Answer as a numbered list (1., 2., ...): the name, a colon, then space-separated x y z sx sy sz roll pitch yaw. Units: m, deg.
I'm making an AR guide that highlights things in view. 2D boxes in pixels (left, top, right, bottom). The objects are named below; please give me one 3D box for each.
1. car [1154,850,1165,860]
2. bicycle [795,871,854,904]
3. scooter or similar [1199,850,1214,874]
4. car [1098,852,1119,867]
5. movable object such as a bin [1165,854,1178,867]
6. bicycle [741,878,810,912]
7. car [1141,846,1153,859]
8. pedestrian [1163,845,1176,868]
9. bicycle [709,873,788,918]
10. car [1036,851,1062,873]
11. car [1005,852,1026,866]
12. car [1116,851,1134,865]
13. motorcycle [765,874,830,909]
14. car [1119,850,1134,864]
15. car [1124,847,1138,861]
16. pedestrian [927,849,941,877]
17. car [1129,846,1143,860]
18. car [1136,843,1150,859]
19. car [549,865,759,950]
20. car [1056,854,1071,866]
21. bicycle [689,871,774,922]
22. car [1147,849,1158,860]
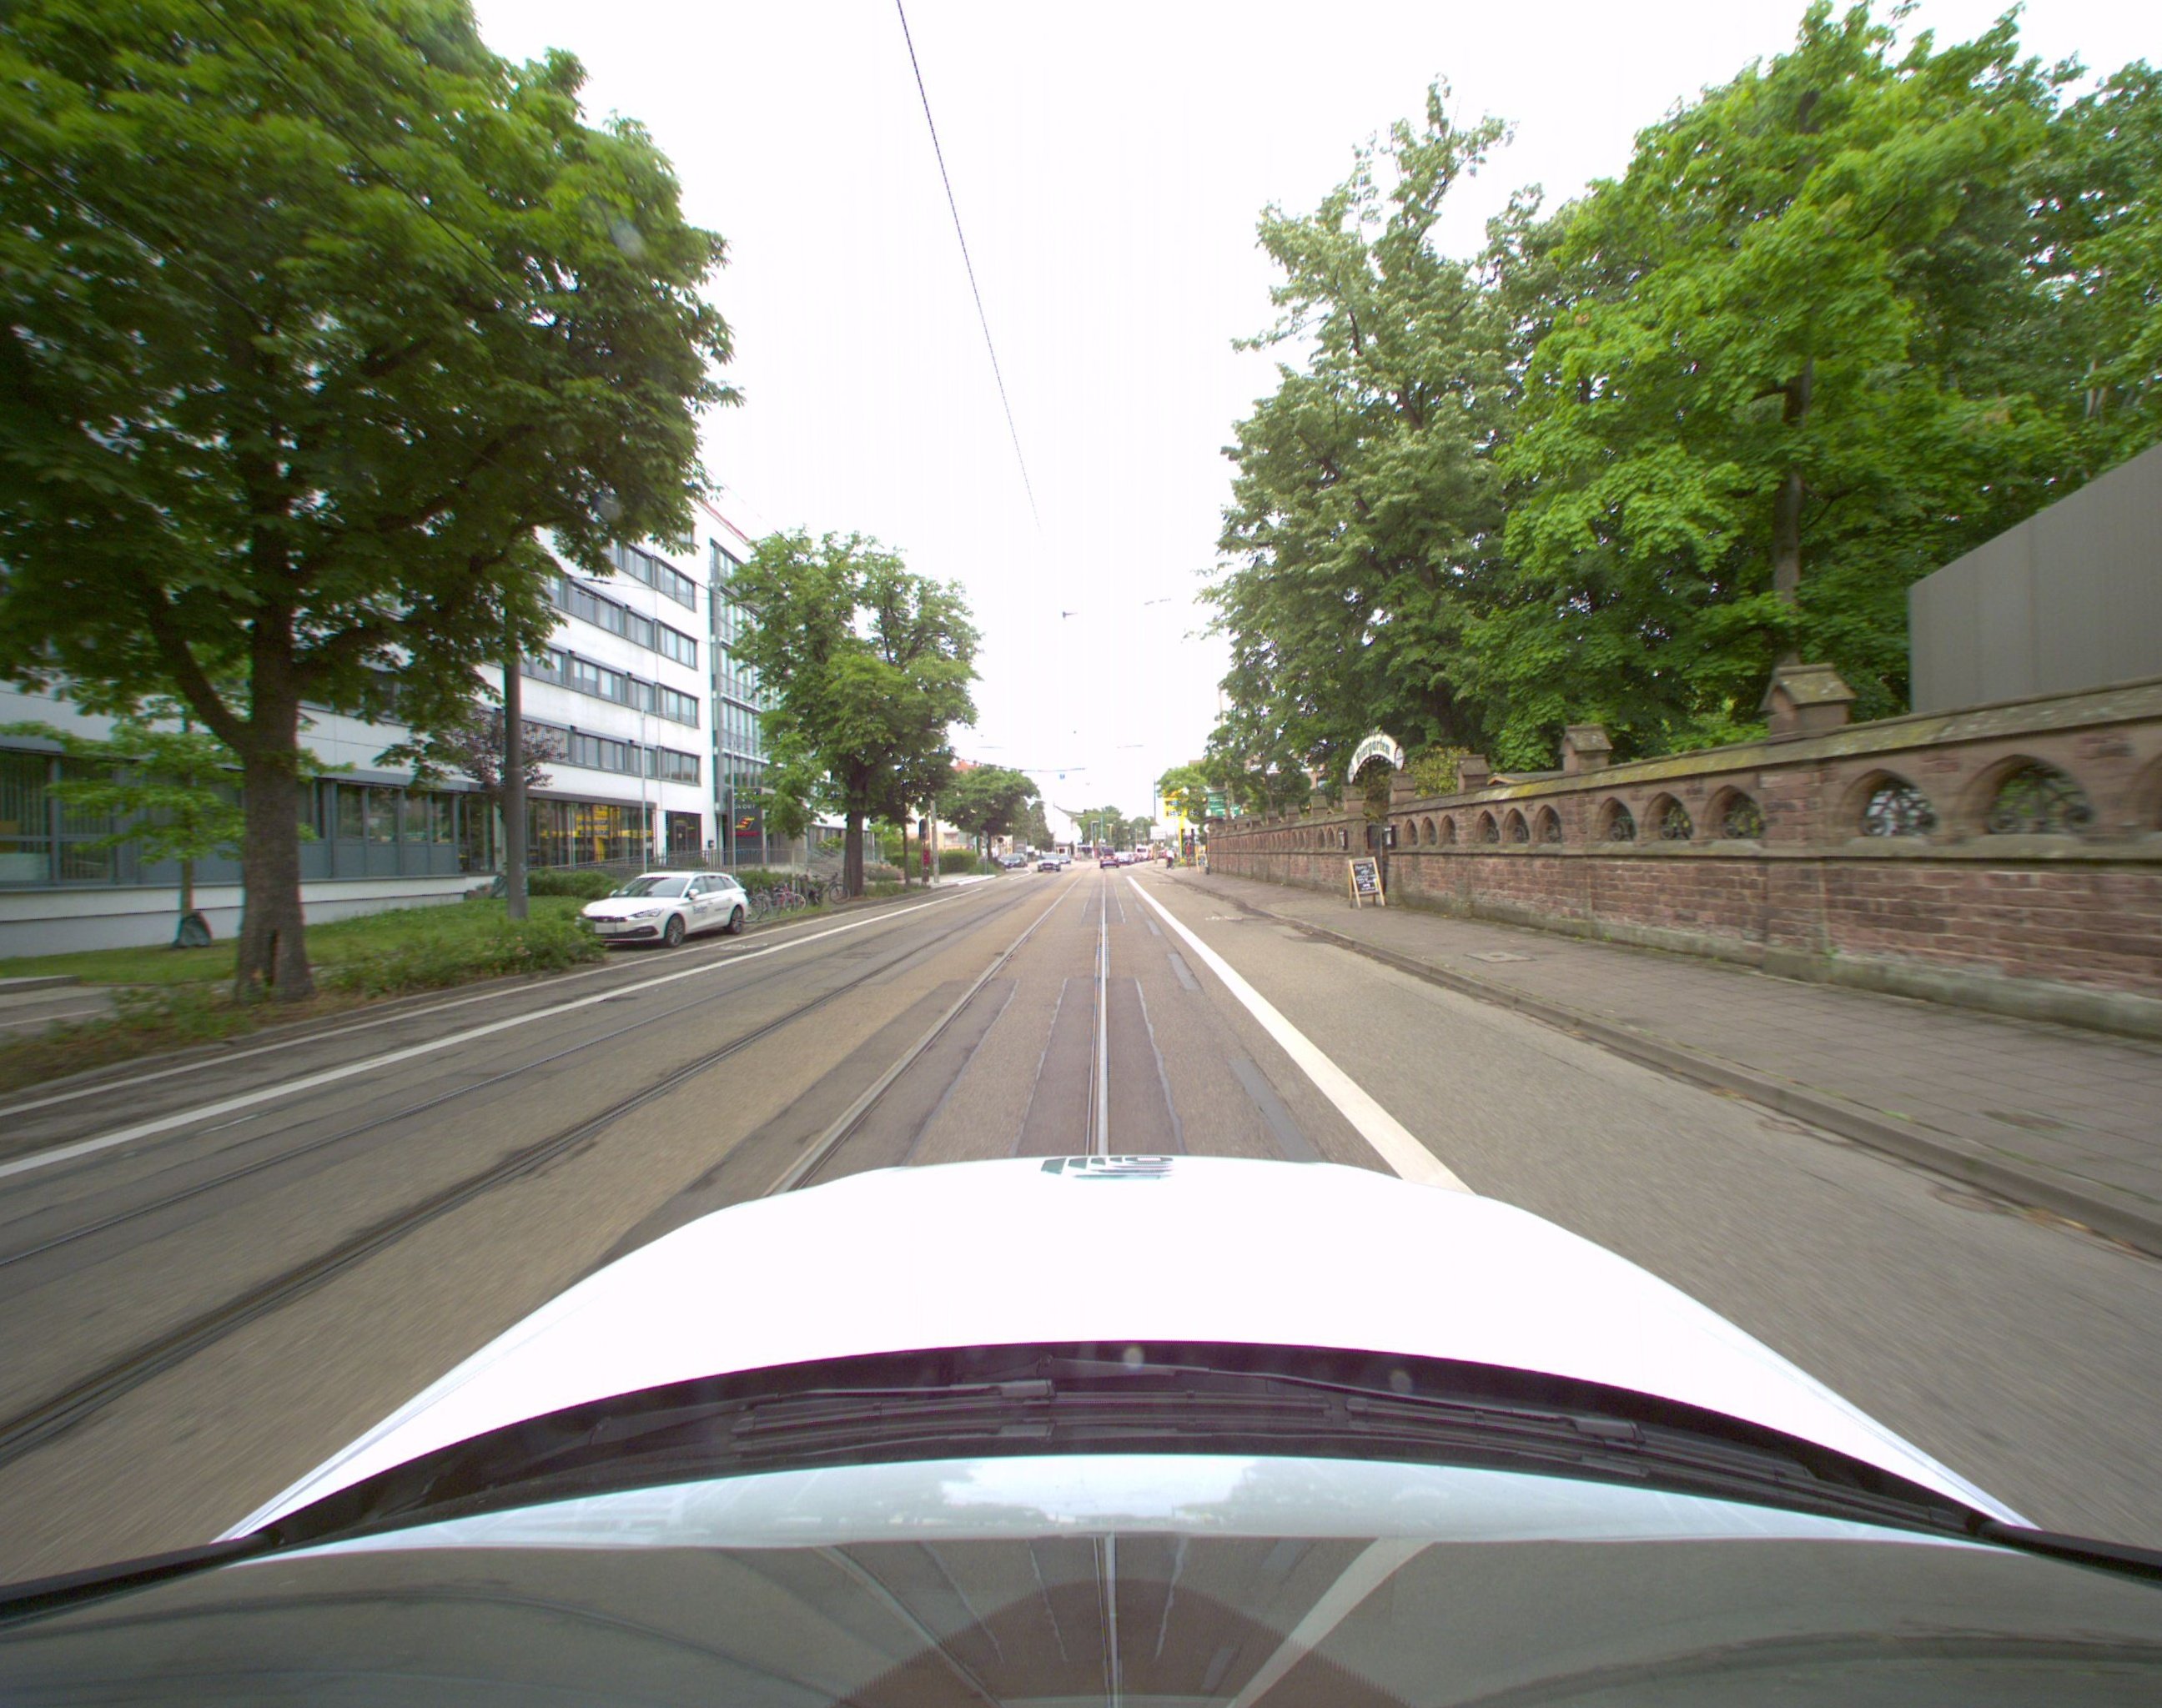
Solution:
1. car: 16.087 0.178 167.971 1.986 2.014 4.001 0 -1 2
2. bicycle: -8.849 1.151 28.150 1.826 1.053 0.740 -2 0 -7
3. scooter or similar: 7.001 0.443 45.571 0.574 1.239 1.410 -5 0 2
4. car: 2.709 0.542 79.570 1.982 1.497 4.328 0 -1 2
5. movable object such as a bin: 7.380 0.540 66.446 0.762 1.039 1.028 -4 -1 16
6. bicycle: -9.101 1.211 24.302 1.803 0.899 0.631 -3 -1 -5
7. car: 11.284 -0.252 139.087 2.129 2.145 4.750 0 -1 5
8. pedestrian: 7.116 0.162 65.465 0.762 1.797 1.167 -4 -1 16
9. bicycle: -8.925 1.111 21.905 1.803 1.100 0.631 -3 -1 -5
10. car: -2.708 0.681 70.182 1.835 1.654 4.391 -4 0 2
11. car: -8.522 0.666 106.709 1.982 1.887 5.004 0 -1 5
12. car: 5.022 0.409 94.032 1.974 1.550 4.185 0 0 2
13. motorcycle: -8.933 1.168 25.708 1.785 1.050 0.731 -1 -1 -6
14. car: 5.984 0.368 107.197 1.960 1.756 3.841 0 -1 3
15. car: 7.106 0.020 115.882 1.985 2.014 4.004 0 -1 4
16. pedestrian: -10.562 0.623 58.526 0.706 2.014 0.993 -1 -1 8
17. car: 8.290 -0.137 121.984 1.984 2.014 4.006 0 -1 5
18. car: 9.845 -0.425 129.736 2.206 2.423 4.957 0 -1 4
19. car: -8.837 1.024 17.442 1.874 1.493 4.755 0 0 2
20. car: -2.450 0.839 115.344 1.741 1.486 4.065 -3 1 2
21. bicycle: -8.884 1.078 20.743 1.855 1.186 0.633 -3 -1 5
22. car: 13.623 0.096 155.623 1.986 2.014 4.001 0 -1 2
